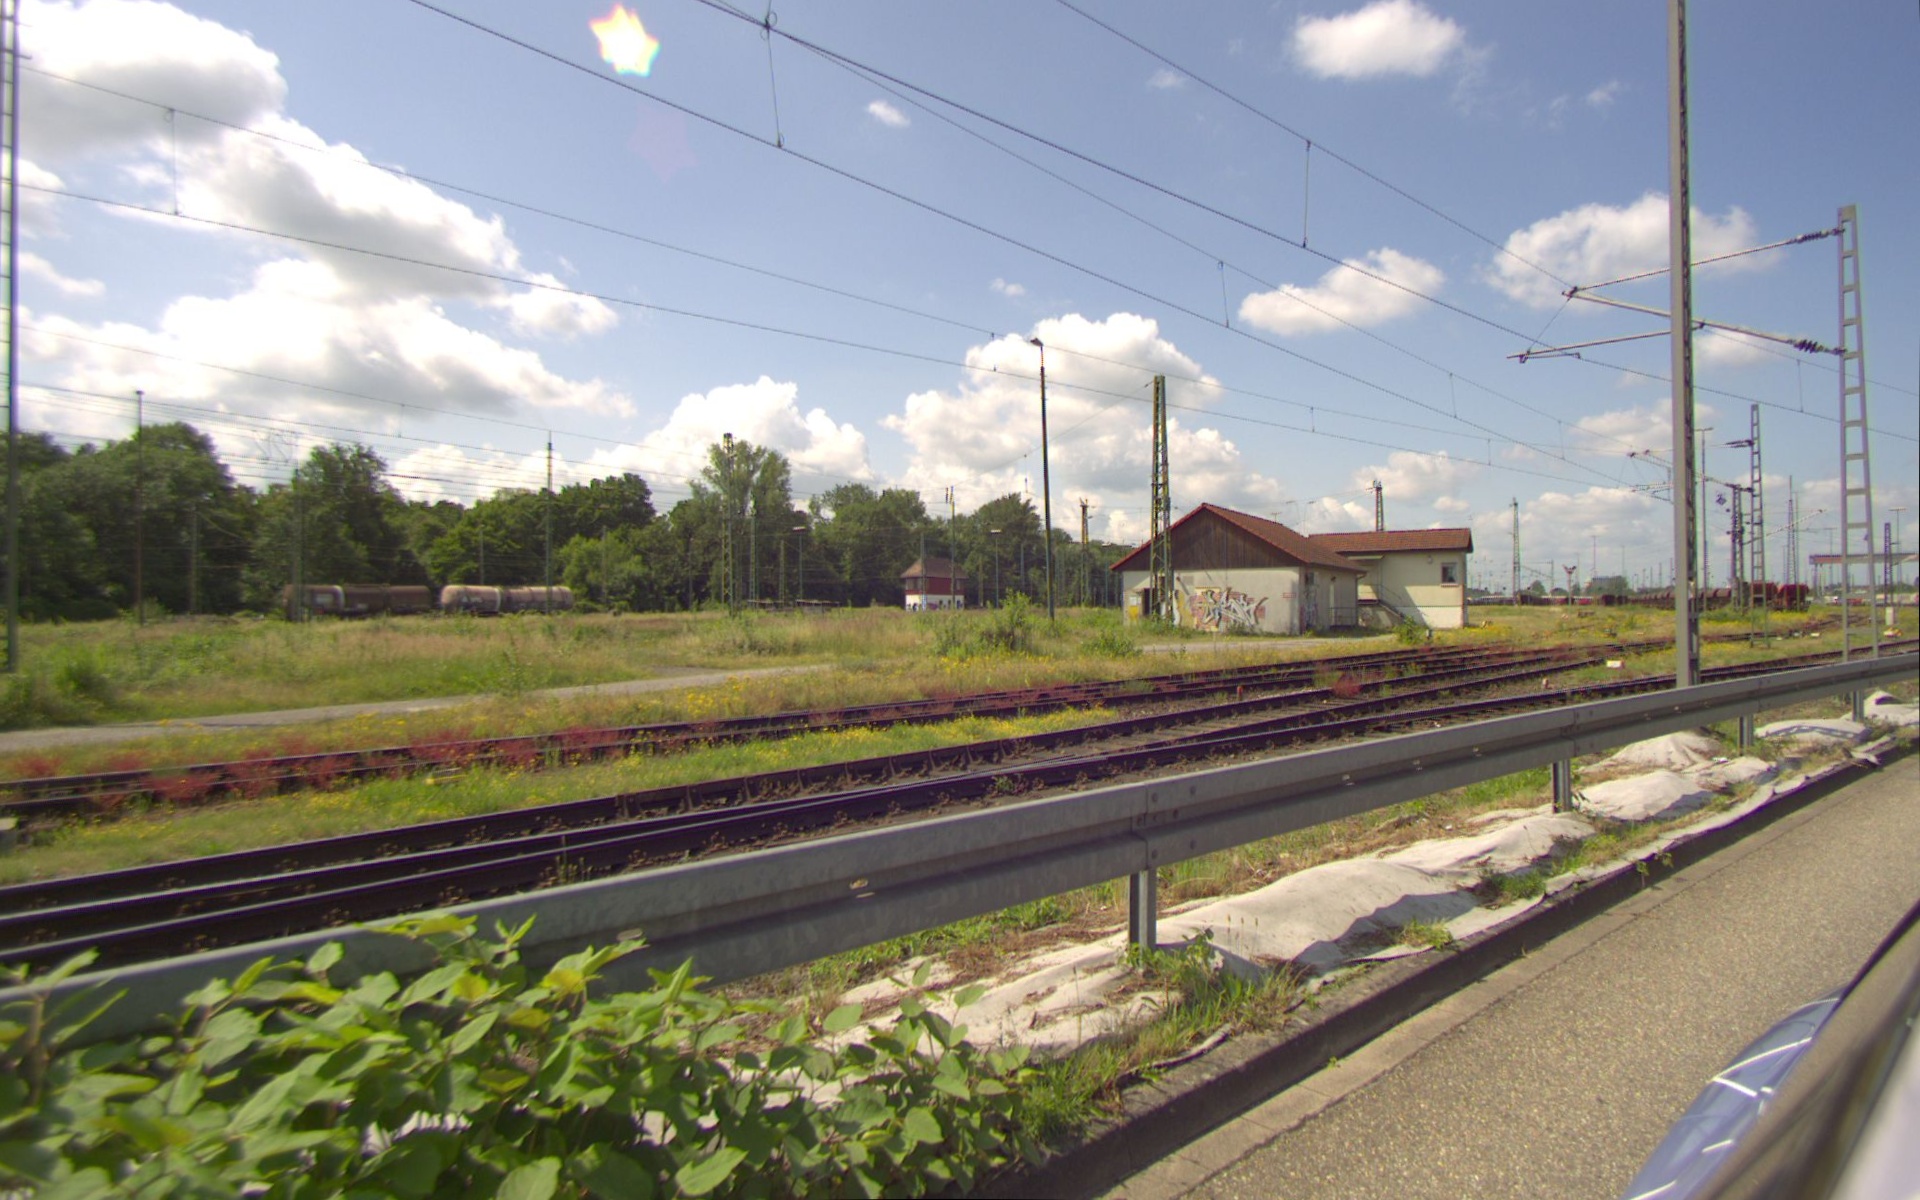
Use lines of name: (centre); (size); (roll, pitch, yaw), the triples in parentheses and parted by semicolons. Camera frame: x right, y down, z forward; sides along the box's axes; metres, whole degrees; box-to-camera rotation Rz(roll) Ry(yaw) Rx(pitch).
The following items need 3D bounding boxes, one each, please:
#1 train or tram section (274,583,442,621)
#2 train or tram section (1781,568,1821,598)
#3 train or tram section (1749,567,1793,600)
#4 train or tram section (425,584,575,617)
train or tram section: (-56.248, 0.113, 95.243); (3.010, 3.347, 13.783); (-1, 0, 32)
train or tram section: (114.647, -2.242, 138.102); (3.185, 3.764, 12.390); (-1, -1, 35)
train or tram section: (97.617, -1.911, 121.979); (3.281, 3.764, 12.390); (-1, -1, 35)
train or tram section: (-48.551, -0.034, 107.775); (3.010, 3.347, 15.583); (-1, 0, 32)
